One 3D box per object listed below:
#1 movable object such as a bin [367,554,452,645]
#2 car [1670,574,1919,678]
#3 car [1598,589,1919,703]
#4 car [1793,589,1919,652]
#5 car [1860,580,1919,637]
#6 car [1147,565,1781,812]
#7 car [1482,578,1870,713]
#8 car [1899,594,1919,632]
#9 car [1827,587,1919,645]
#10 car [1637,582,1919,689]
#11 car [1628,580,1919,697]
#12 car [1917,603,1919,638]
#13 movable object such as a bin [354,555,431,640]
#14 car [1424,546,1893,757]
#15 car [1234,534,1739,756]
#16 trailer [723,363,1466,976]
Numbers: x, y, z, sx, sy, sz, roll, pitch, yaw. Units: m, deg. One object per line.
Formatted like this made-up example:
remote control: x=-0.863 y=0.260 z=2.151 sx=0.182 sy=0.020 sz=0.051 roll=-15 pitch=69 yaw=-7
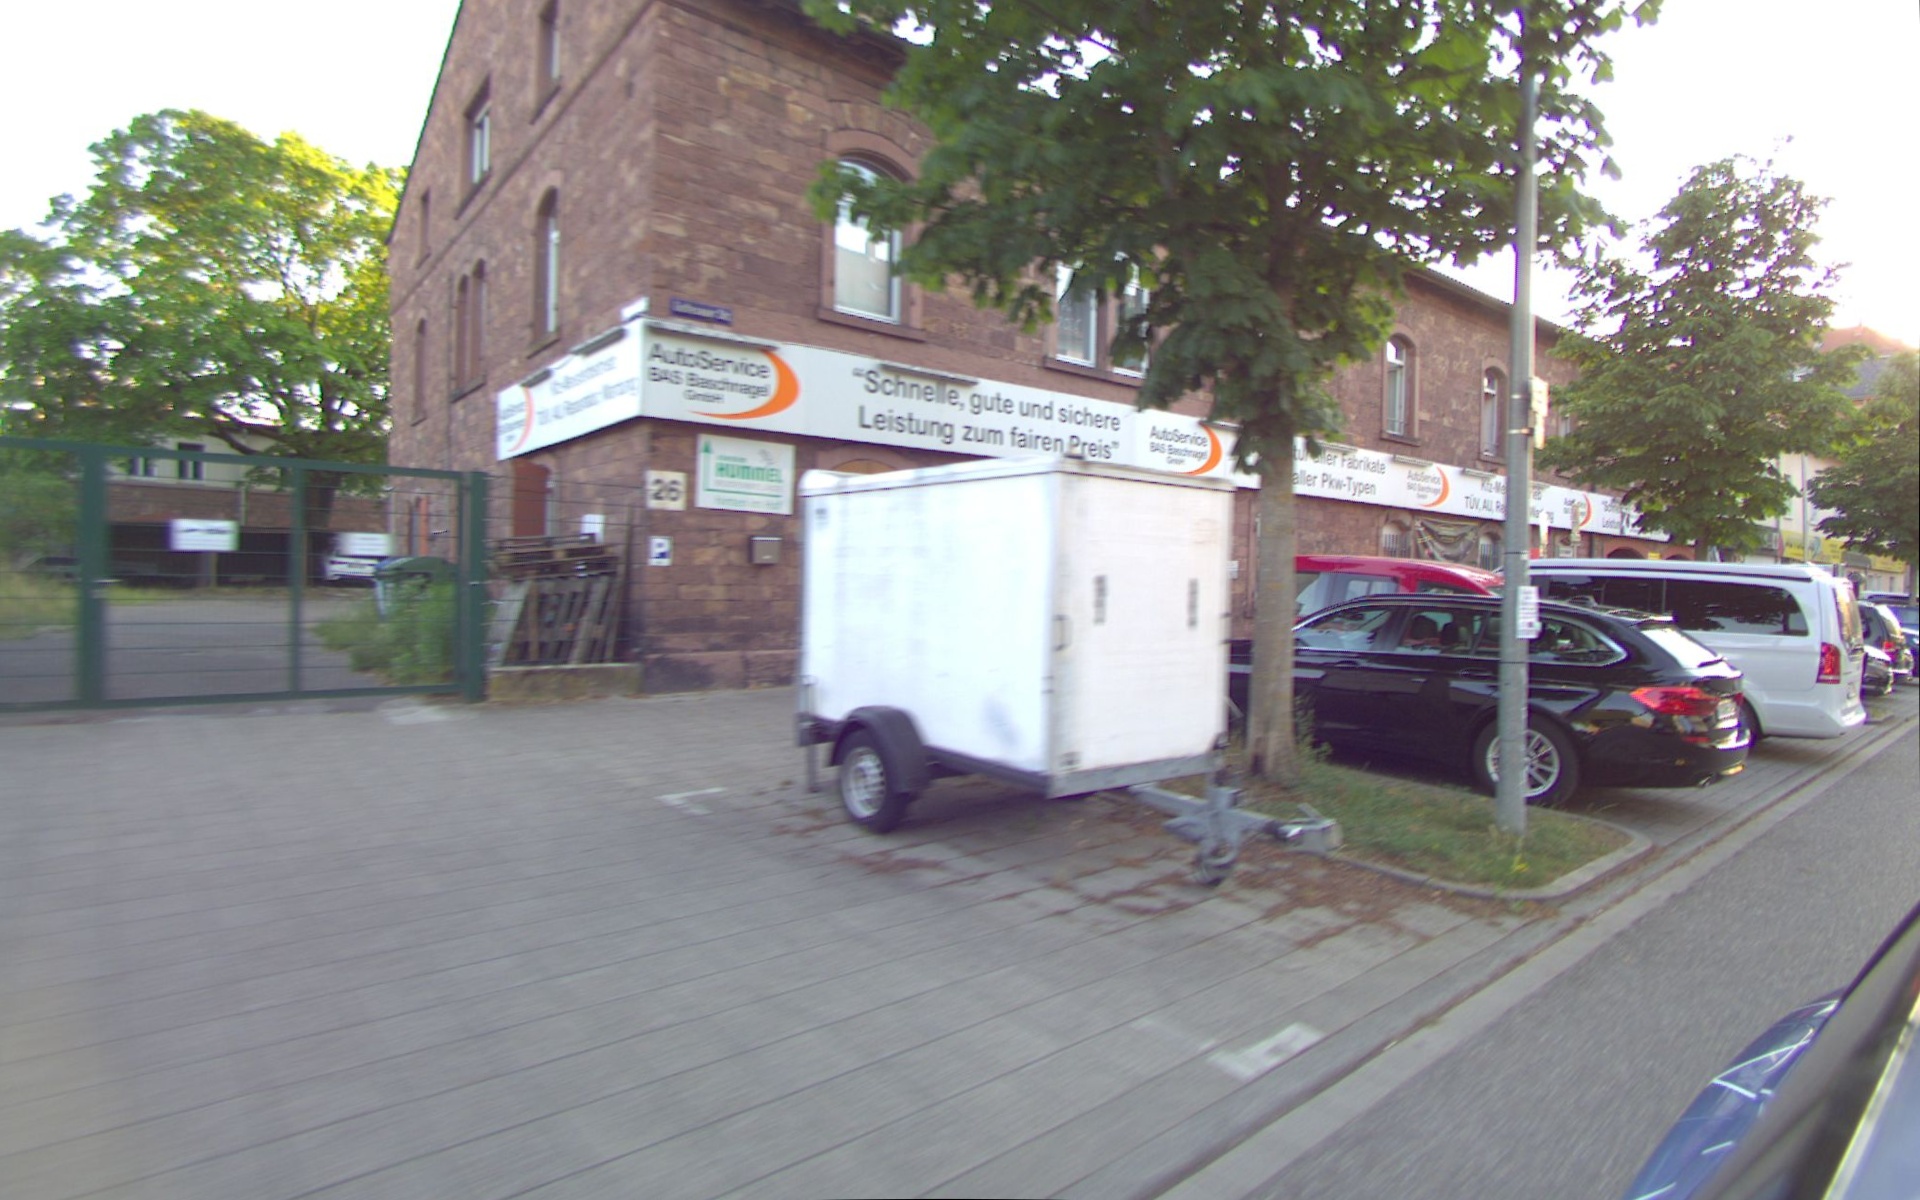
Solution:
movable object such as a bin: x=-9.249 y=-0.018 z=16.991 sx=1.077 sy=1.462 sz=1.264 roll=1 pitch=0 yaw=-37
car: x=18.627 y=0.522 z=21.987 sx=1.981 sy=1.775 sz=4.799 roll=2 pitch=4 yaw=-40
car: x=13.053 y=0.658 z=16.692 sx=1.789 sy=1.585 sz=3.952 roll=1 pitch=1 yaw=-41
car: x=27.873 y=0.638 z=30.447 sx=1.812 sy=1.564 sz=3.999 roll=1 pitch=5 yaw=-39
car: x=35.594 y=0.471 z=36.236 sx=1.975 sy=1.883 sz=4.605 roll=1 pitch=6 yaw=-37
car: x=3.871 y=0.499 z=8.485 sx=1.742 sy=1.518 sz=4.436 roll=1 pitch=1 yaw=-40
car: x=9.540 y=0.499 z=13.738 sx=1.745 sy=1.528 sz=3.995 roll=1 pitch=1 yaw=-40
car: x=40.854 y=0.656 z=41.074 sx=1.651 sy=1.514 sz=3.795 roll=1 pitch=3 yaw=-40
car: x=31.675 y=0.627 z=33.037 sx=1.963 sy=1.650 sz=4.712 roll=1 pitch=4 yaw=-37
car: x=16.488 y=0.628 z=20.290 sx=1.947 sy=1.594 sz=4.425 roll=2 pitch=4 yaw=-41
car: x=14.760 y=0.594 z=18.344 sx=1.862 sy=1.638 sz=3.996 roll=1 pitch=4 yaw=-41
car: x=43.244 y=1.036 z=42.095 sx=1.964 sy=1.514 sz=4.734 roll=1 pitch=3 yaw=-39
movable object such as a bin: x=-10.230 y=-0.060 z=18.225 sx=1.039 sy=1.462 sz=1.289 roll=1 pitch=0 yaw=-37
car: x=7.682 y=0.434 z=11.423 sx=1.965 sy=1.927 sz=3.994 roll=1 pitch=1 yaw=-41
car: x=5.251 y=0.327 z=10.597 sx=1.870 sy=1.822 sz=4.309 roll=1 pitch=1 yaw=-40
trailer: x=0.428 y=0.213 z=5.842 sx=1.964 sy=2.215 sz=3.997 roll=1 pitch=1 yaw=-39
